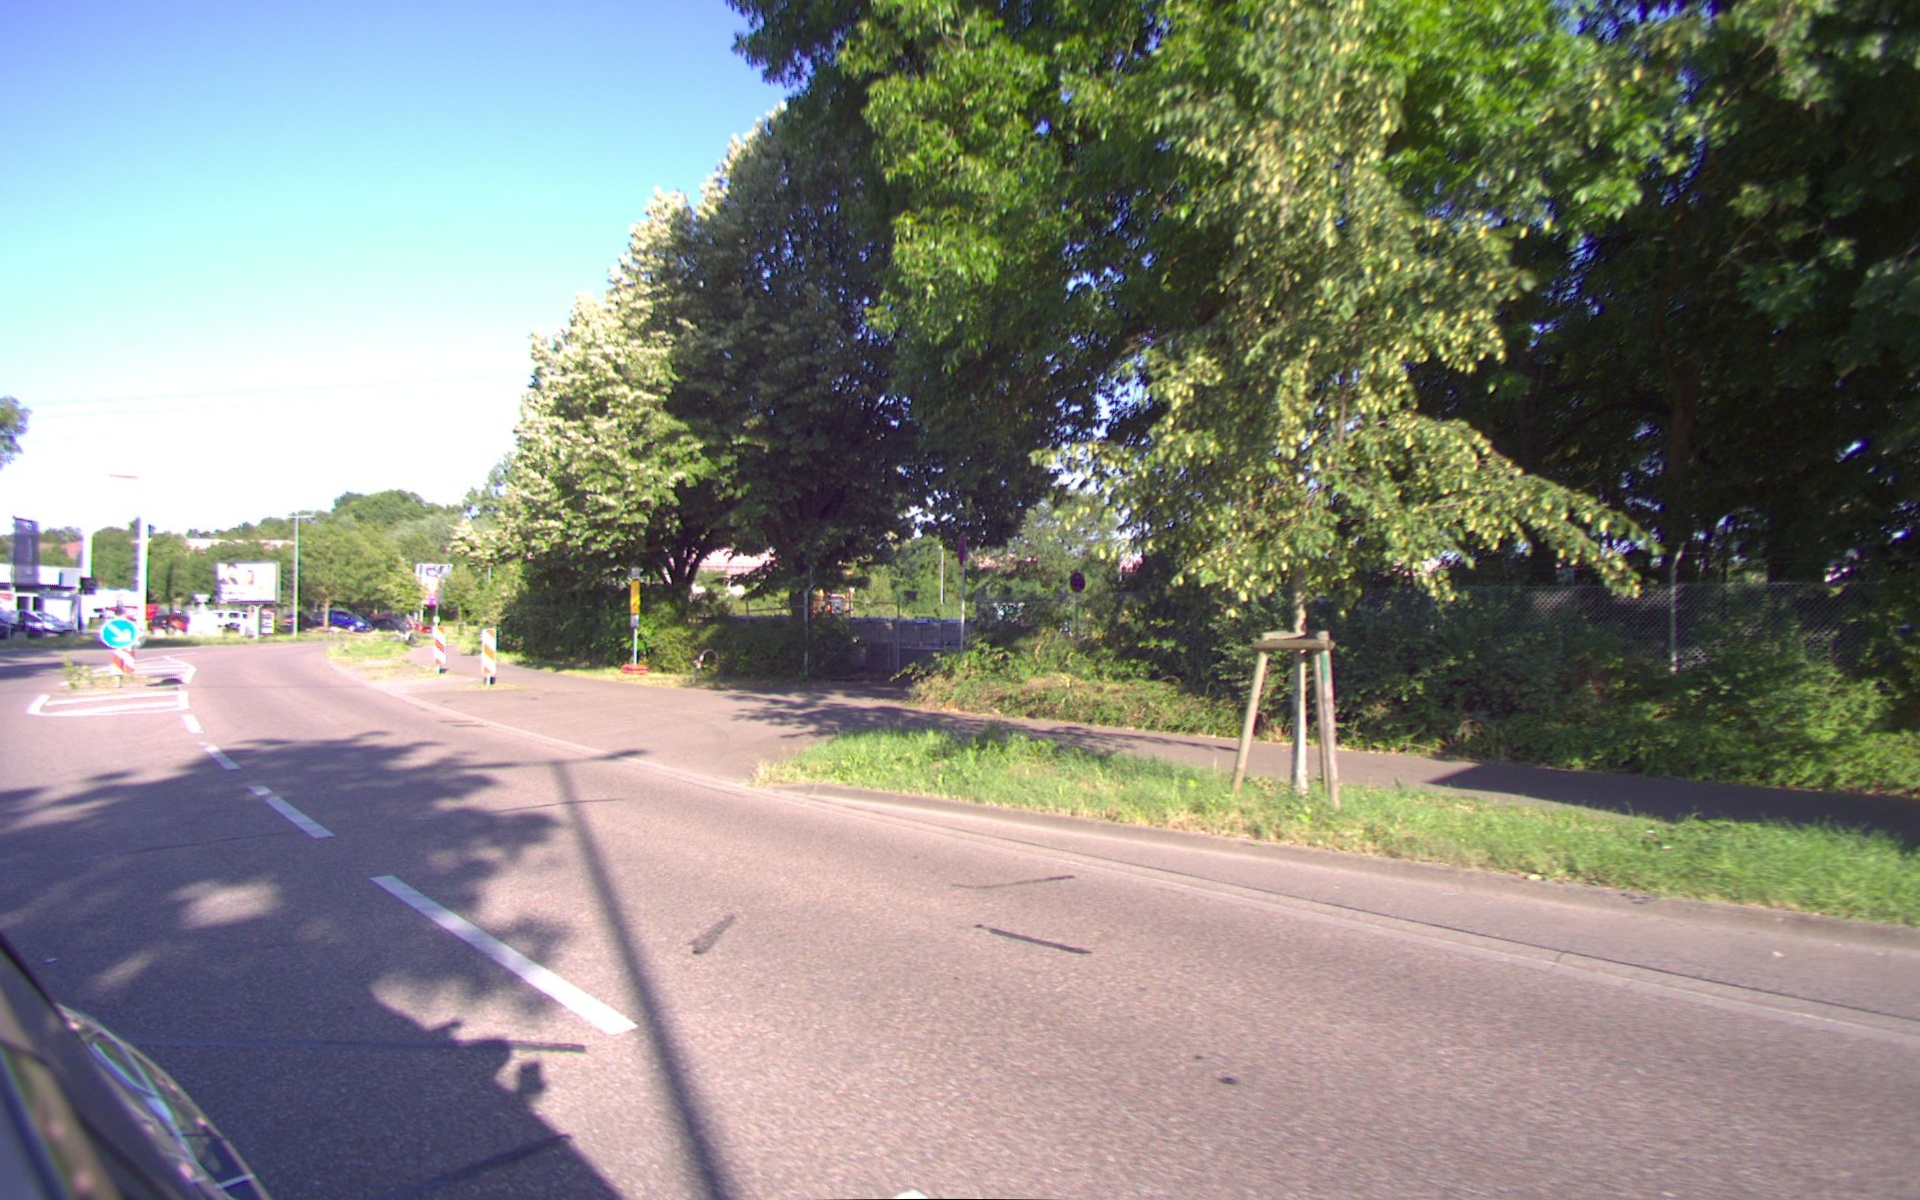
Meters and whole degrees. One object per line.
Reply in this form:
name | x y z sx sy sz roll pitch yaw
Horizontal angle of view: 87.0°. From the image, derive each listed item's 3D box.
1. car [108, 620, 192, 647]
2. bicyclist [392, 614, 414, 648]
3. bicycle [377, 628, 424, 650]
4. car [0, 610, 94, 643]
car | -62.757 2.575 78.483 4.783 2.029 2.297 0 -2 3
bicyclist | -29.325 1.630 53.309 0.938 1.766 0.914 2 -3 -30
bicycle | -29.345 2.065 53.089 2.126 1.109 0.928 2 -3 -31
car | -58.541 1.690 63.955 5.202 2.029 2.411 1 -2 -12
